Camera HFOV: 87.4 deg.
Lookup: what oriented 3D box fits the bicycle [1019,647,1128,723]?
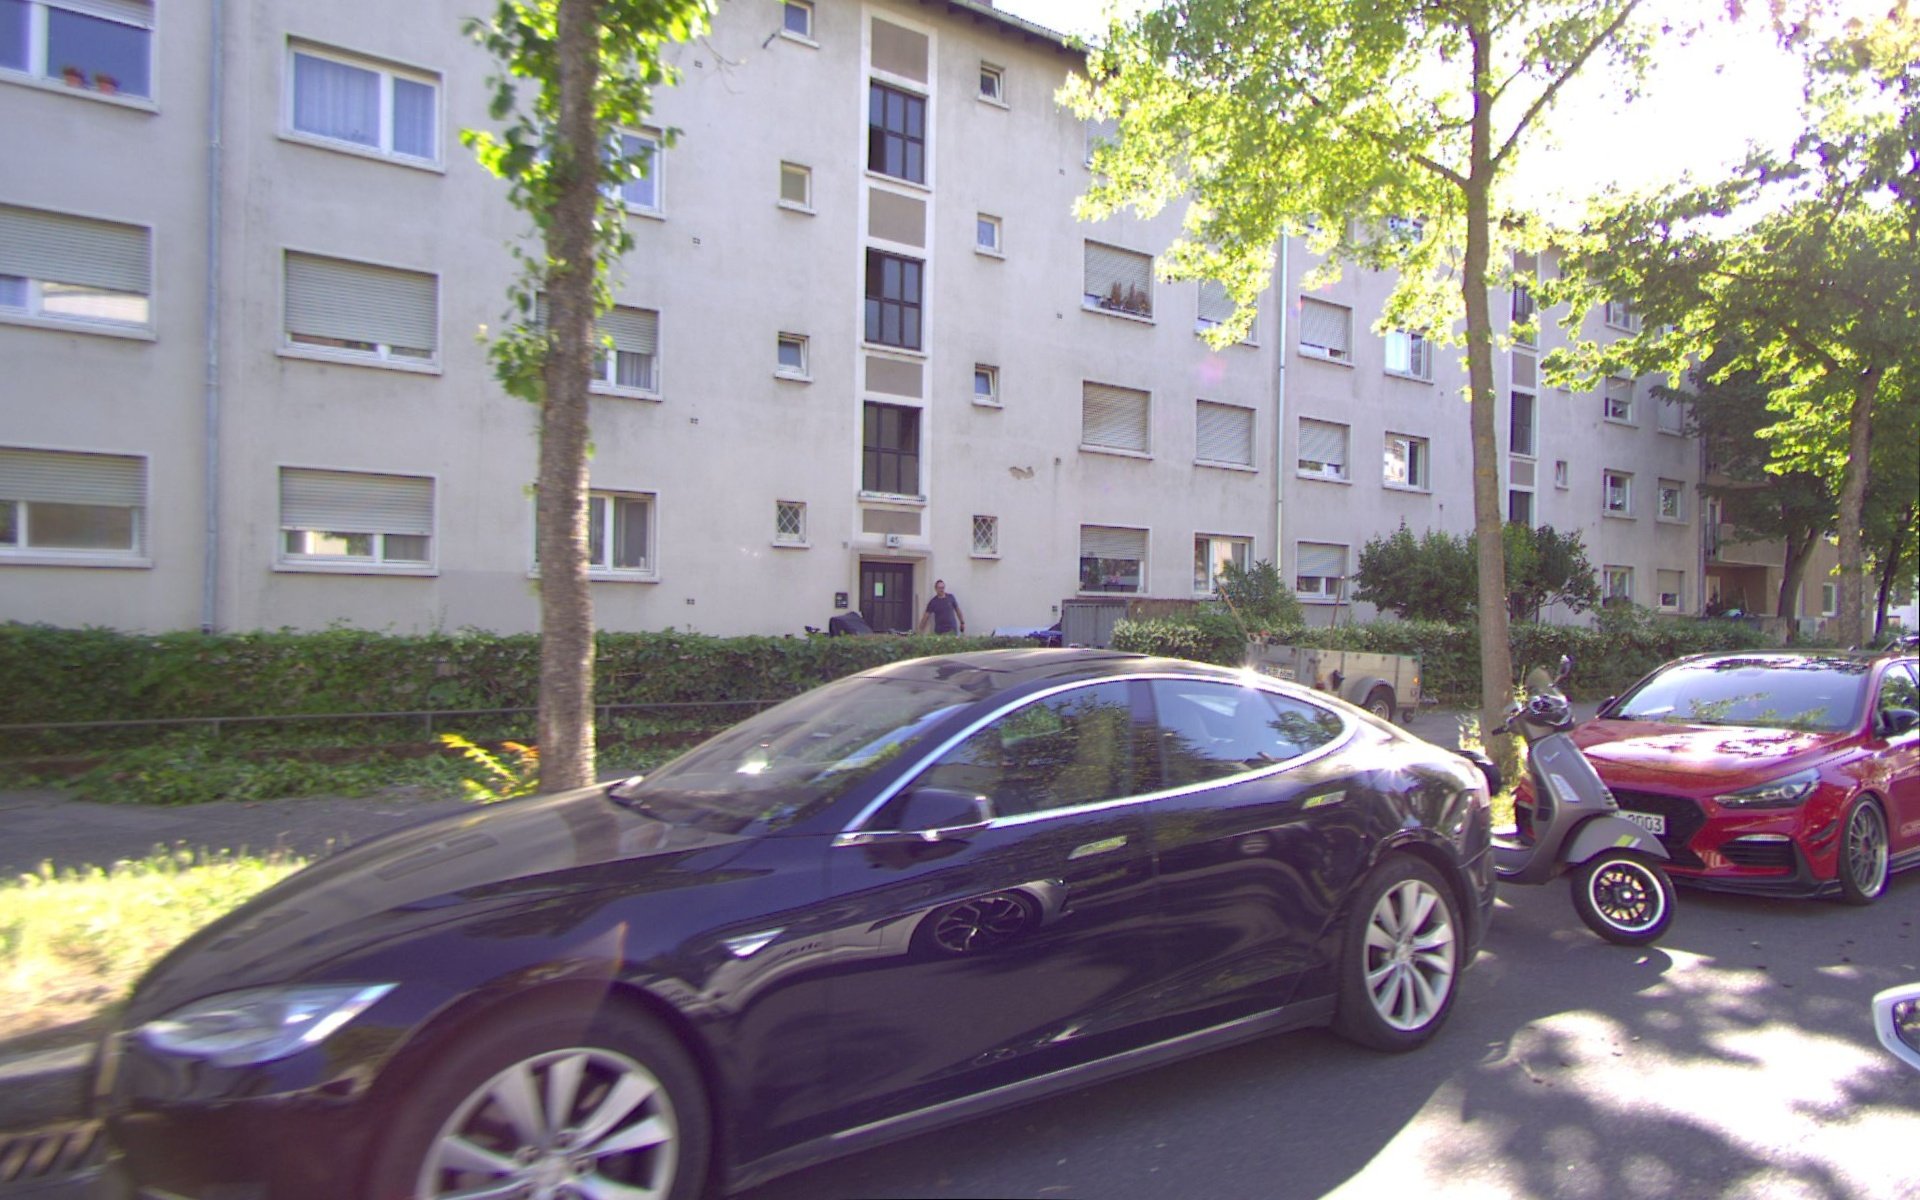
[{"bbox_3d":[1.587,1.179,14.390,0.508,0.929,1.939,1,0,-29],"label":"bicycle"}]

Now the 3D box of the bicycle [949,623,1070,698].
[{"bbox_3d":[0.818,0.993,16.600,1.918,1.168,0.513,1,0,-7],"label":"bicycle"}]

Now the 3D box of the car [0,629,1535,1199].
[{"bbox_3d":[-0.132,0.904,3.585,4.565,1.496,1.721,1,-4,-30],"label":"car"}]

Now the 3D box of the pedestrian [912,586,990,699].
[{"bbox_3d":[-0.162,0.732,17.662,1.016,1.913,0.927,1,-1,-35],"label":"pedestrian"}]

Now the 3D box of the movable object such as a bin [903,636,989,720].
[{"bbox_3d":[-0.189,1.011,13.330,0.833,1.047,0.879,1,-2,-28],"label":"movable object such as a bin"}]

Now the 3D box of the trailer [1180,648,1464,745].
[{"bbox_3d":[4.690,1.171,13.004,3.241,1.047,1.781,1,-1,-29],"label":"trailer"}]

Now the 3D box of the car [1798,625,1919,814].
[{"bbox_3d":[9.978,1.056,9.634,4.419,1.587,1.779,2,-4,-34],"label":"car"}]

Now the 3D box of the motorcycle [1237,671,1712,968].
[{"bbox_3d":[2.778,1.077,5.717,0.802,1.287,2.267,2,-3,-40],"label":"motorcycle"}]

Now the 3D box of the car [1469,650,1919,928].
[{"bbox_3d":[5.641,1.050,6.962,4.212,1.397,1.771,1,-3,-30],"label":"car"}]

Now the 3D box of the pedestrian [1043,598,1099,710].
[{"bbox_3d":[1.974,0.953,17.952,0.861,1.939,0.783,1,-1,-3],"label":"pedestrian"}]
